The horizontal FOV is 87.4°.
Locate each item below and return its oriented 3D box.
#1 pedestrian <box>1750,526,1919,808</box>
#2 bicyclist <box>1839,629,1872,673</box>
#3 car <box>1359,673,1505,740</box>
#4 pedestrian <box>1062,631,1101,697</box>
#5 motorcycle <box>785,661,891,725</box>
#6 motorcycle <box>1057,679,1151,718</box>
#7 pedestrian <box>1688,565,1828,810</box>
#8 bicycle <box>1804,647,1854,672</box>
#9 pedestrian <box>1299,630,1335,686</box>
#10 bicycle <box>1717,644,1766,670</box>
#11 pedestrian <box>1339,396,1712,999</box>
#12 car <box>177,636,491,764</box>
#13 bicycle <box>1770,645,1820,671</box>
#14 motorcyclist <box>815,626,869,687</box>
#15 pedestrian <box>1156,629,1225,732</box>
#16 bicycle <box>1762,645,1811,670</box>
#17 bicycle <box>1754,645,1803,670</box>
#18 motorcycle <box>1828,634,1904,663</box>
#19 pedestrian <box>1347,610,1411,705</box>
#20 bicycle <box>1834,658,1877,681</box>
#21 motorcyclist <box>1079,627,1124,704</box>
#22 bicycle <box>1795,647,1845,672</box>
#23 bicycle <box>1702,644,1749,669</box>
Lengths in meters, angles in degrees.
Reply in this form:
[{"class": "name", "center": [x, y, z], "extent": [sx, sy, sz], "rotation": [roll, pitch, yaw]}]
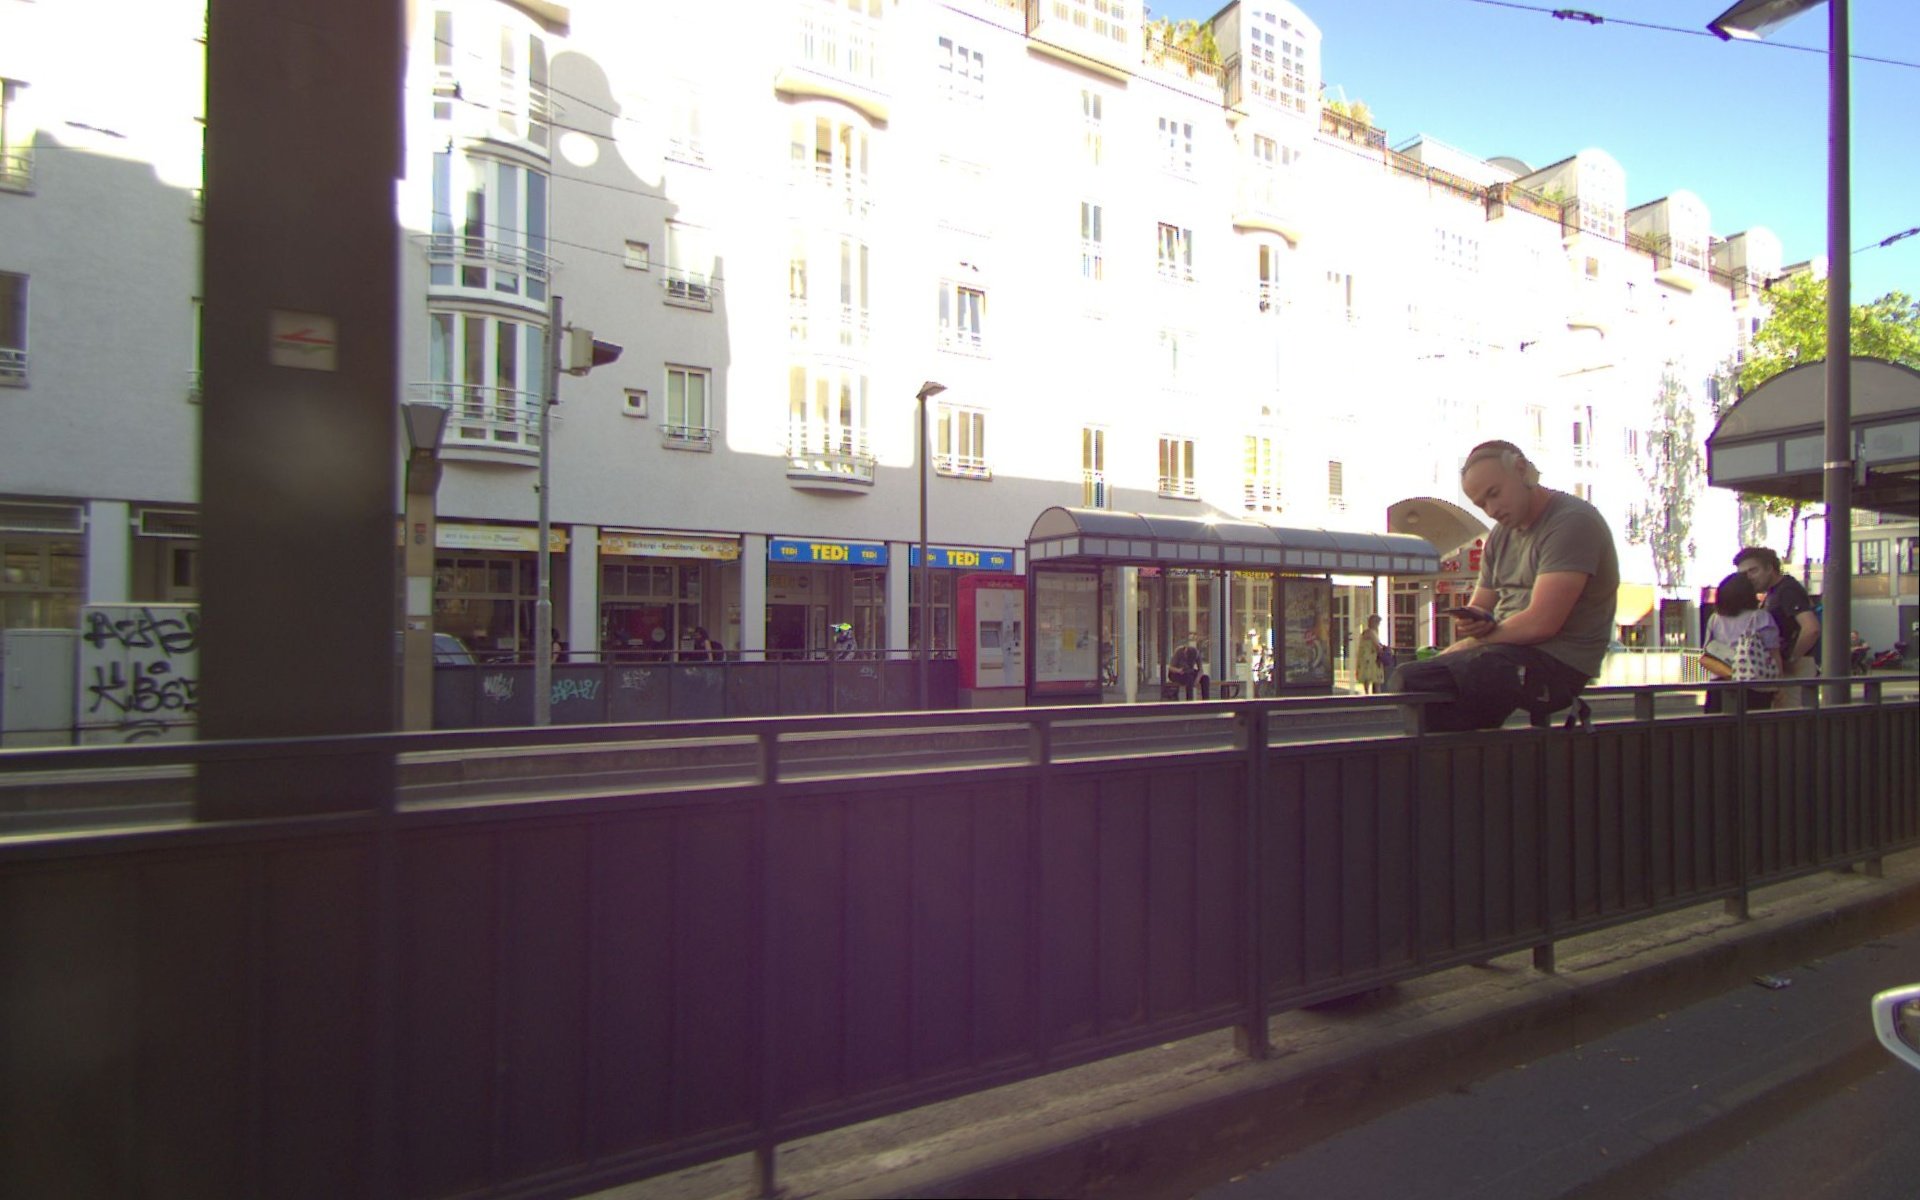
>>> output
[{"class": "pedestrian", "center": [5.910, 0.441, 6.793], "extent": [0.554, 1.801, 0.720], "rotation": [-1, -2, 6]}, {"class": "bicyclist", "center": [32.297, 1.820, 36.232], "extent": [0.768, 1.577, 0.669], "rotation": [1, -2, -29]}, {"class": "car", "center": [12.295, 2.720, 26.157], "extent": [3.602, 1.440, 1.684], "rotation": [0, -1, -30]}, {"class": "pedestrian", "center": [3.093, 1.621, 25.601], "extent": [0.591, 1.642, 0.837], "rotation": [1, -2, -34]}, {"class": "motorcycle", "center": [-2.219, 1.685, 18.348], "extent": [1.823, 1.088, 0.556], "rotation": [2, -1, -30]}, {"class": "motorcycle", "center": [2.905, 1.965, 20.189], "extent": [1.982, 0.729, 0.491], "rotation": [2, -1, -30]}, {"class": "pedestrian", "center": [5.389, 0.580, 6.813], "extent": [0.460, 1.582, 0.587], "rotation": [-1, -2, 6]}, {"class": "bicycle", "center": [33.121, 2.274, 38.304], "extent": [1.465, 0.953, 0.393], "rotation": [-1, -2, 6]}, {"class": "pedestrian", "center": [10.663, 1.721, 29.980], "extent": [0.835, 1.642, 0.593], "rotation": [1, -2, -30]}, {"class": "bicycle", "center": [30.096, 2.194, 38.689], "extent": [1.465, 0.953, 0.393], "rotation": [-1, -2, 6]}, {"class": "pedestrian", "center": [1.864, 0.292, 3.344], "extent": [0.920, 1.720, 0.635], "rotation": [2, -1, -23]}, {"class": "car", "center": [-8.722, 1.320, 14.309], "extent": [3.602, 1.529, 1.684], "rotation": [0, -1, -30]}, {"class": "bicycle", "center": [31.570, 2.193, 37.997], "extent": [1.465, 0.953, 0.393], "rotation": [-1, -2, 6]}, {"class": "motorcyclist", "center": [-2.164, 1.028, 18.379], "extent": [0.817, 1.088, 0.556], "rotation": [2, -1, -29]}, {"class": "pedestrian", "center": [3.584, 1.224, 15.621], "extent": [0.734, 1.548, 0.727], "rotation": [0, -1, -31]}, {"class": "bicycle", "center": [31.614, 2.201, 38.430], "extent": [1.465, 0.953, 0.393], "rotation": [-1, -2, 6]}, {"class": "bicycle", "center": [31.661, 2.204, 38.847], "extent": [1.465, 0.953, 0.393], "rotation": [-1, -2, 6]}, {"class": "motorcycle", "center": [41.942, 2.226, 46.542], "extent": [0.661, 1.305, 2.499], "rotation": [1, -2, -32]}, {"class": "pedestrian", "center": [7.248, 0.976, 17.392], "extent": [0.734, 1.579, 0.727], "rotation": [0, -1, -31]}, {"class": "bicycle", "center": [32.311, 2.482, 36.252], "extent": [1.914, 0.767, 0.564], "rotation": [1, -2, -30]}, {"class": "motorcyclist", "center": [2.844, 1.307, 20.174], "extent": [0.713, 1.522, 0.484], "rotation": [2, -1, -29]}, {"class": "bicycle", "center": [33.176, 2.284, 38.762], "extent": [1.465, 0.953, 0.393], "rotation": [-1, -2, 6]}, {"class": "bicycle", "center": [30.185, 2.230, 39.599], "extent": [1.465, 0.953, 0.393], "rotation": [-1, -2, 6]}]
